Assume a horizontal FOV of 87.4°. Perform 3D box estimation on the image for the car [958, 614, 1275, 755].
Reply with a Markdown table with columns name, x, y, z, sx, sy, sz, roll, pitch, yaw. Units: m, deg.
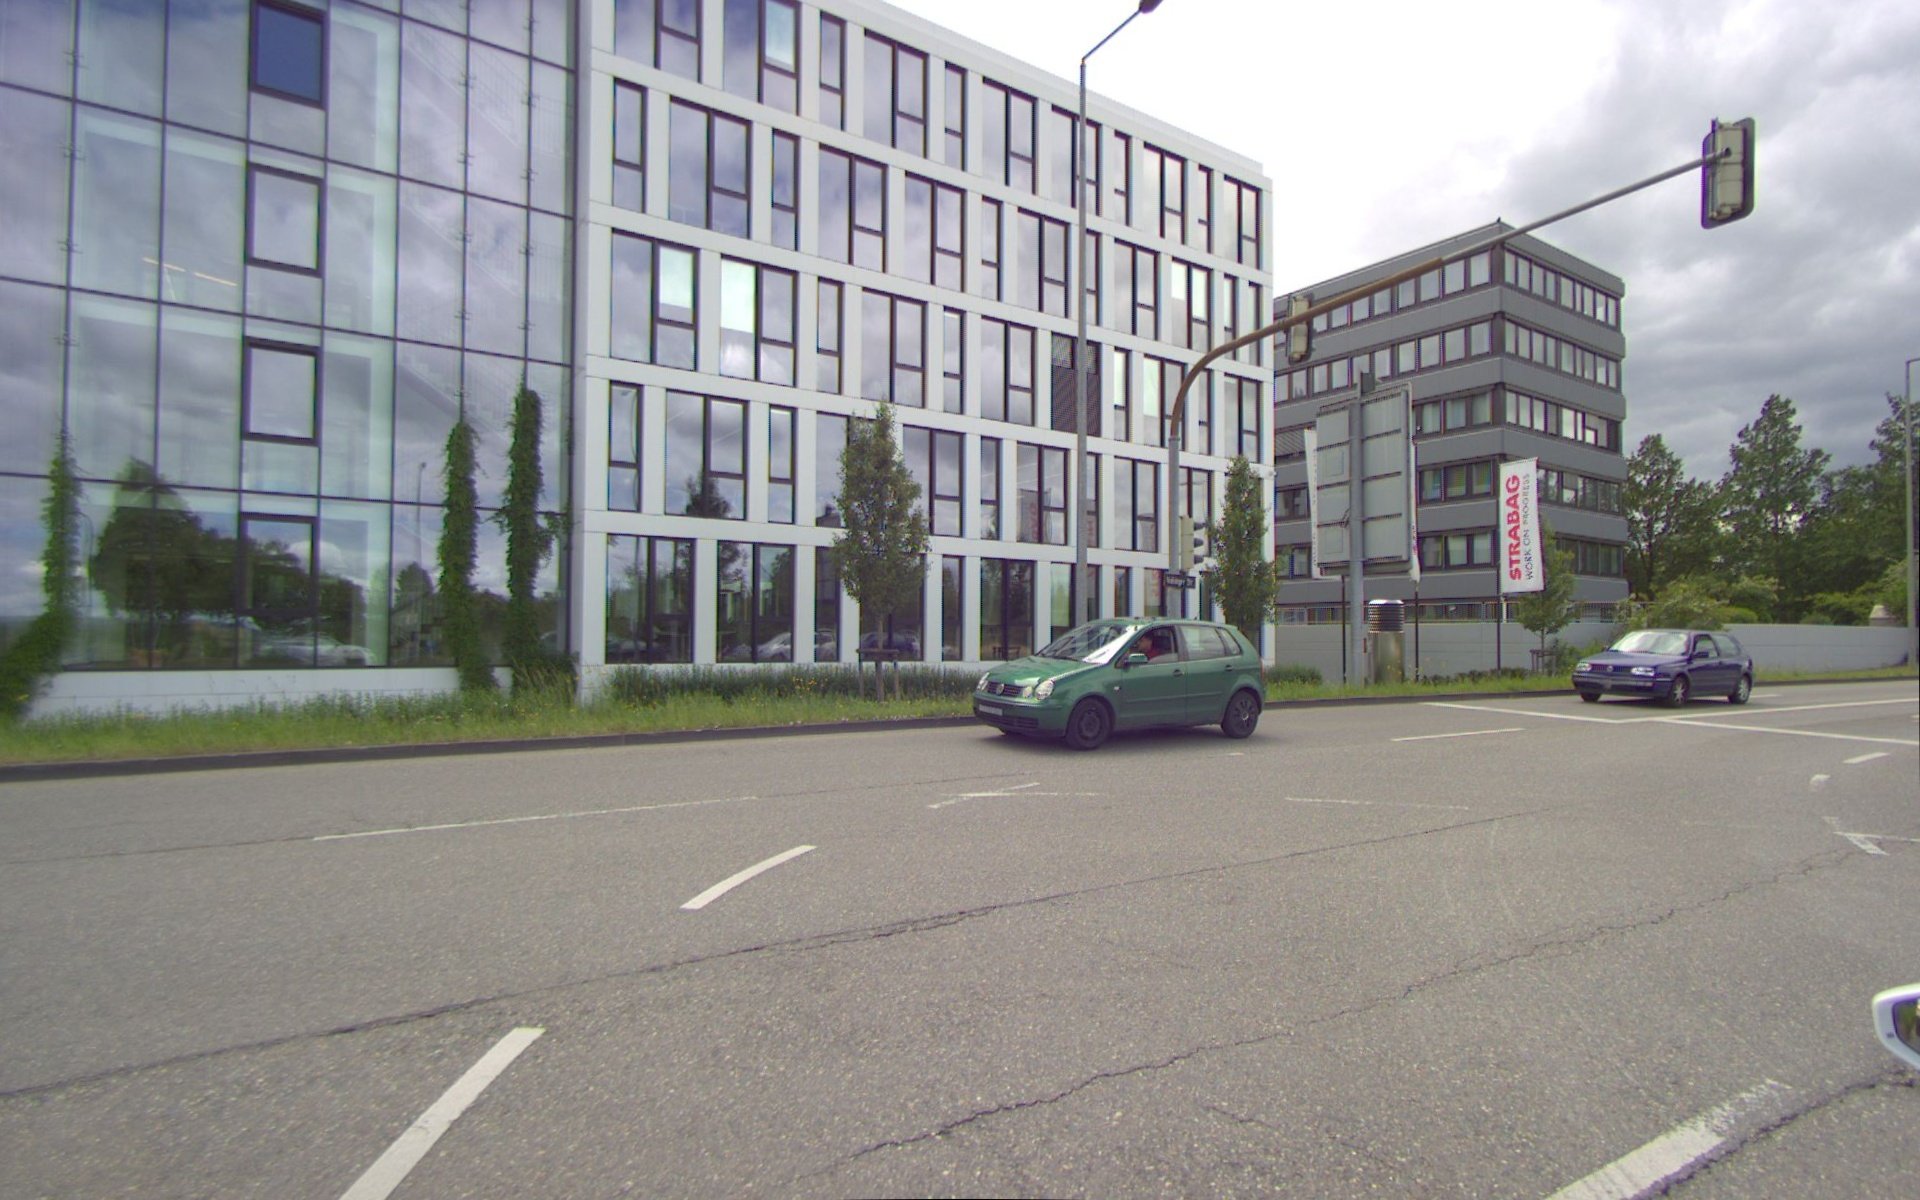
| name | x | y | z | sx | sy | sz | roll | pitch | yaw |
| --- | --- | --- | --- | --- | --- | --- | --- | --- | --- |
| car | 1.966 | 0.941 | 12.301 | 3.712 | 1.451 | 1.596 | 1 | 0 | -33 |

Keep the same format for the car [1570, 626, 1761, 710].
| name | x | y | z | sx | sy | sz | roll | pitch | yaw |
| --- | --- | --- | --- | --- | --- | --- | --- | --- | --- |
| car | 13.589 | 1.235 | 19.299 | 3.850 | 1.438 | 1.546 | 1 | 0 | -30 |
